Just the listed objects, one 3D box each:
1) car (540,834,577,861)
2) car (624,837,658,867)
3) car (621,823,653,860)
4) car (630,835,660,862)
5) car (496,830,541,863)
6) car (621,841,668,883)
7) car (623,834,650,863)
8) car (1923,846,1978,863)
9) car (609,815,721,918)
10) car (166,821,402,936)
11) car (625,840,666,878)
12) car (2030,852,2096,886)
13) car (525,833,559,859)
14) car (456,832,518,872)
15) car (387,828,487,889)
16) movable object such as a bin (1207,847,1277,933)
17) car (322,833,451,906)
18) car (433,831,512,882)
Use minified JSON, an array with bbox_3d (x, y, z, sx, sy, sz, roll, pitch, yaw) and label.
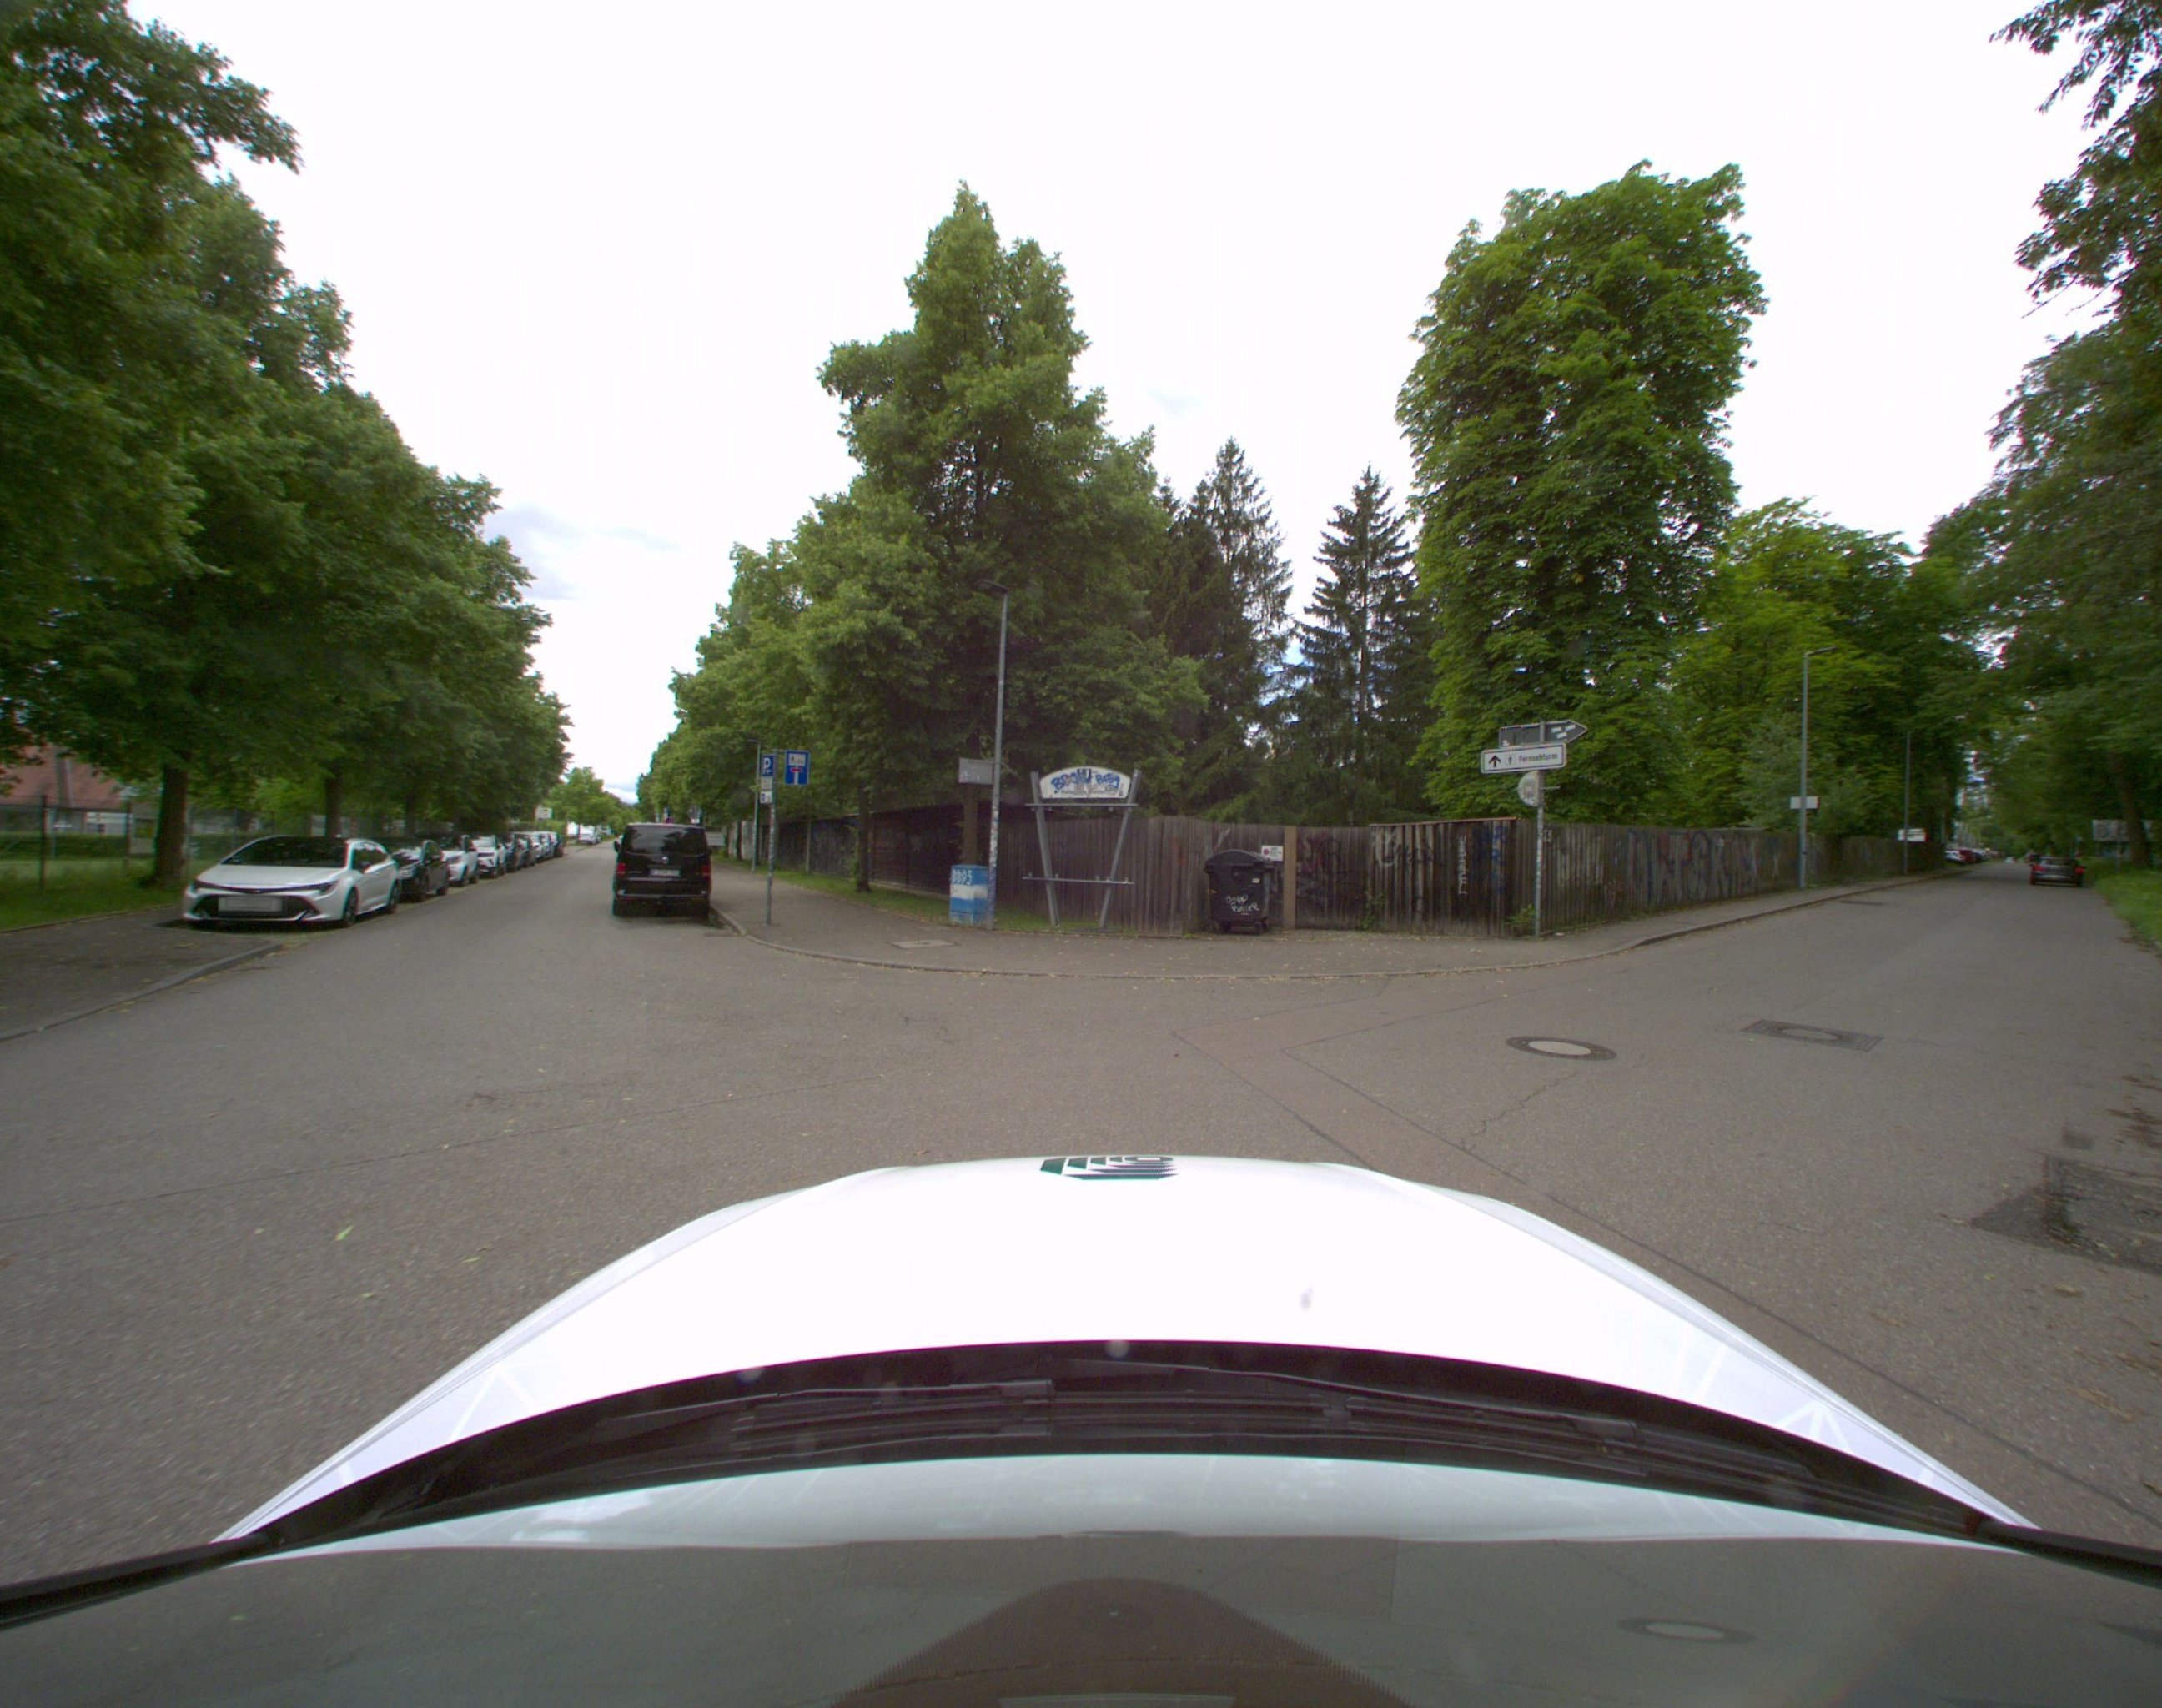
[{"bbox_3d":[-30.289,-0.396,47.313,1.477,1.481,3.161,1,0,-27],"label":"car"},{"bbox_3d":[-23.121,-0.102,42.857,1.477,1.531,3.161,1,0,-27],"label":"car"},{"bbox_3d":[-37.326,-1.044,68.561,2.196,3.015,4.854,1,0,-27],"label":"car"},{"bbox_3d":[-25.501,-0.309,47.681,1.477,1.531,3.161,1,0,-27],"label":"car"},{"bbox_3d":[-29.091,-0.400,42.199,1.603,1.559,3.163,4,-1,-30],"label":"car"},{"bbox_3d":[-16.347,0.278,30.589,1.477,1.481,3.161,1,0,-27],"label":"car"},{"bbox_3d":[-30.928,-0.374,56.722,1.477,1.967,3.161,1,0,-27],"label":"car"},{"bbox_3d":[93.674,0.007,87.752,2.011,1.749,3.952,0,1,-42],"label":"car"},{"bbox_3d":[-9.289,0.226,18.275,1.999,2.013,4.072,1,0,-27],"label":"car"},{"bbox_3d":[-12.919,0.357,13.530,1.776,1.596,4.175,4,-1,-31],"label":"car"},{"bbox_3d":[-18.699,0.187,35.064,1.477,1.531,3.161,1,0,-27],"label":"car"},{"bbox_3d":[48.789,0.715,40.433,4.019,1.507,1.893,1,3,-38],"label":"car"},{"bbox_3d":[-33.698,-0.489,50.957,1.604,1.559,3.163,0,1,-30],"label":"car"},{"bbox_3d":[-23.731,-0.071,32.648,1.603,1.458,3.163,4,-1,-30],"label":"car"},{"bbox_3d":[-19.088,0.120,24.293,1.702,1.596,3.961,4,-1,-30],"label":"car"},{"bbox_3d":[2.866,0.604,14.383,1.067,1.442,1.292,0,-1,18],"label":"movable object such as a bin"},{"bbox_3d":[-15.550,0.313,18.420,1.555,1.455,3.630,4,-1,-31],"label":"car"},{"bbox_3d":[-21.376,0.077,28.733,1.702,1.596,3.961,4,-1,-30],"label":"car"}]
